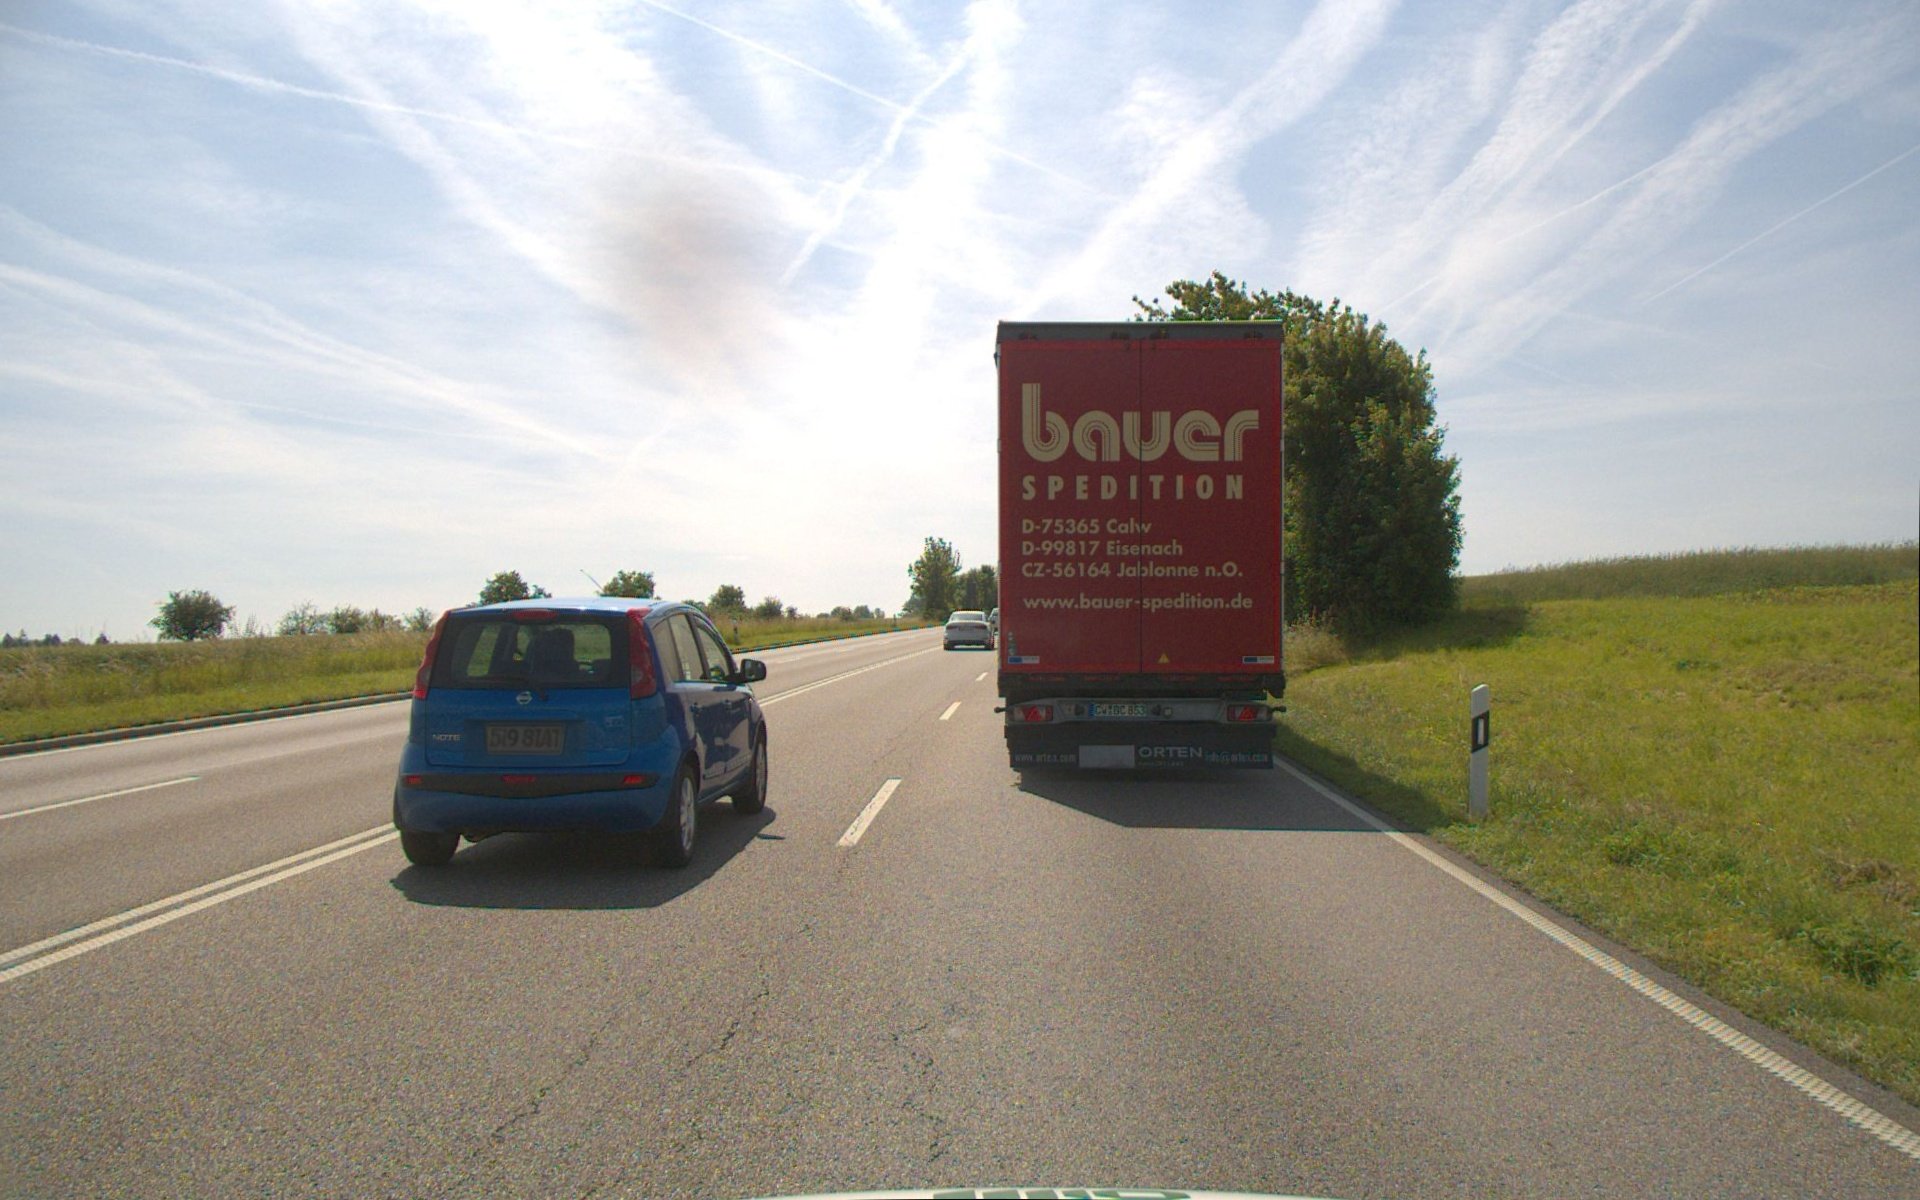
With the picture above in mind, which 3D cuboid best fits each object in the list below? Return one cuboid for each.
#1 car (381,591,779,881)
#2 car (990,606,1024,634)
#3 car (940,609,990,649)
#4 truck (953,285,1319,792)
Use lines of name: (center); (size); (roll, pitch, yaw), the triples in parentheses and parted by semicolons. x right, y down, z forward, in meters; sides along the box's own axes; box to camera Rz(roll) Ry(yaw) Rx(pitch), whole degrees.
car: (-2.262, 0.744, 10.852); (1.598, 1.558, 3.915); (0, 0, 2)
car: (2.677, 1.123, 93.563); (1.783, 1.498, 4.790); (1, 0, 3)
car: (0.230, 1.061, 61.710); (1.668, 1.400, 4.604); (1, 0, 2)
truck: (1.460, -0.507, 22.386); (2.946, 4.253, 16.711); (1, 0, -1)
